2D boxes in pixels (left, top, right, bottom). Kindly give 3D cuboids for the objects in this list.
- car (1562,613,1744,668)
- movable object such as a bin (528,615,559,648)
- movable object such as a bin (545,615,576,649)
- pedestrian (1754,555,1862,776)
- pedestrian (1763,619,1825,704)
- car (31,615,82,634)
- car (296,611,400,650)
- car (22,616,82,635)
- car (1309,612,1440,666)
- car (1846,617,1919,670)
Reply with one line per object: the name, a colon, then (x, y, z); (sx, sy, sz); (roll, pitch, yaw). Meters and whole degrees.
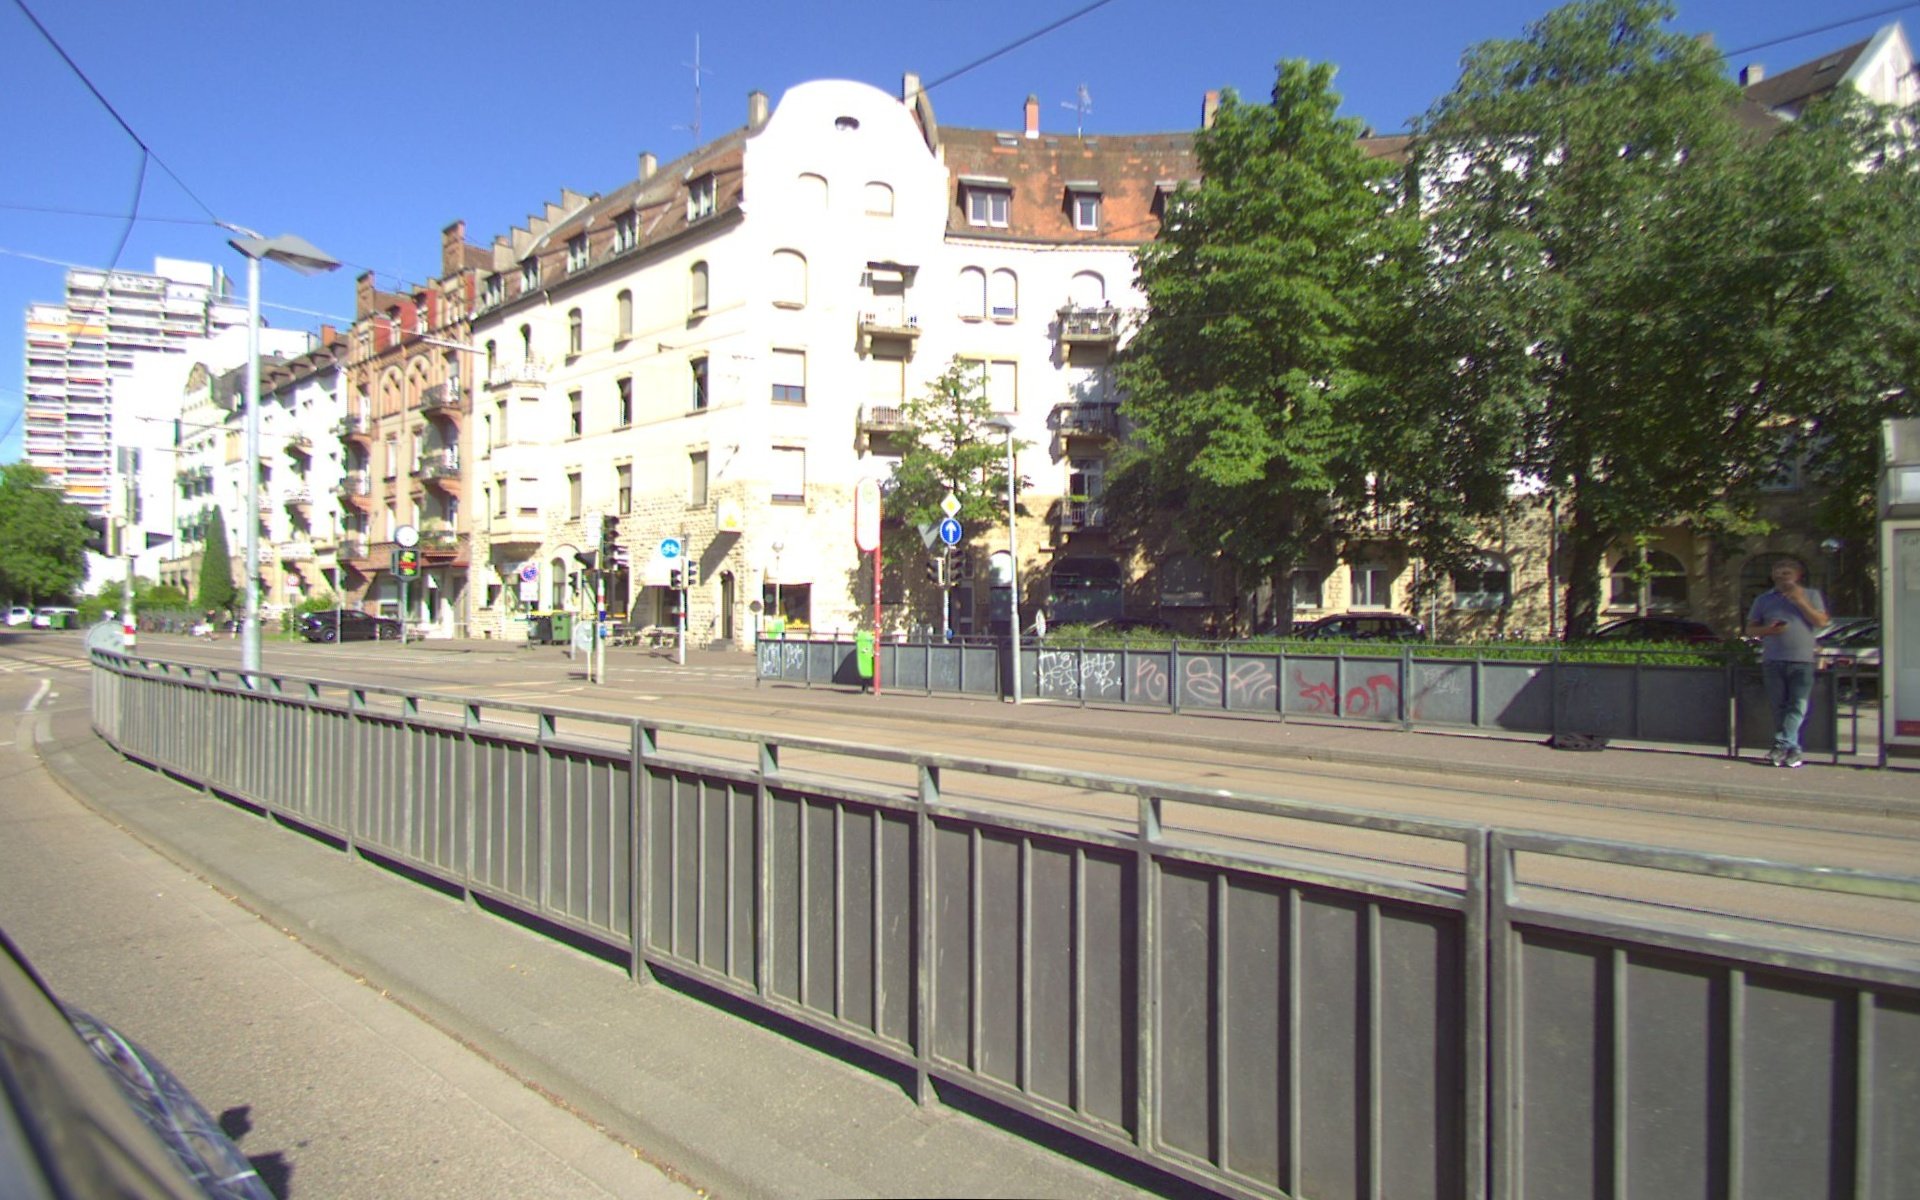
car: (16.770, 0.959, 24.672); (3.439, 1.224, 1.514); (-1, 0, 26)
movable object such as a bin: (-16.857, 1.260, 40.956); (0.746, 1.318, 0.868); (-1, 0, 34)
movable object such as a bin: (-15.997, 1.279, 40.531); (0.746, 1.318, 0.868); (-1, 0, 34)
pedestrian: (7.231, 0.542, 8.657); (0.673, 1.798, 0.460); (-1, -2, 39)
pedestrian: (13.203, 0.958, 16.025); (0.723, 1.291, 0.650); (-1, 0, 40)
car: (-74.577, 1.997, 83.565); (1.545, 1.431, 3.228); (-1, 0, -7)
car: (-29.100, 1.393, 48.198); (1.814, 1.600, 3.841); (4, 3, 35)
car: (-72.141, 1.983, 80.433); (3.168, 1.431, 1.574); (-1, 0, -18)
car: (10.841, 1.010, 26.661); (2.969, 1.340, 1.730); (-1, 0, 15)
car: (21.720, 0.946, 22.253); (3.134, 1.103, 1.453); (-1, 0, 32)
